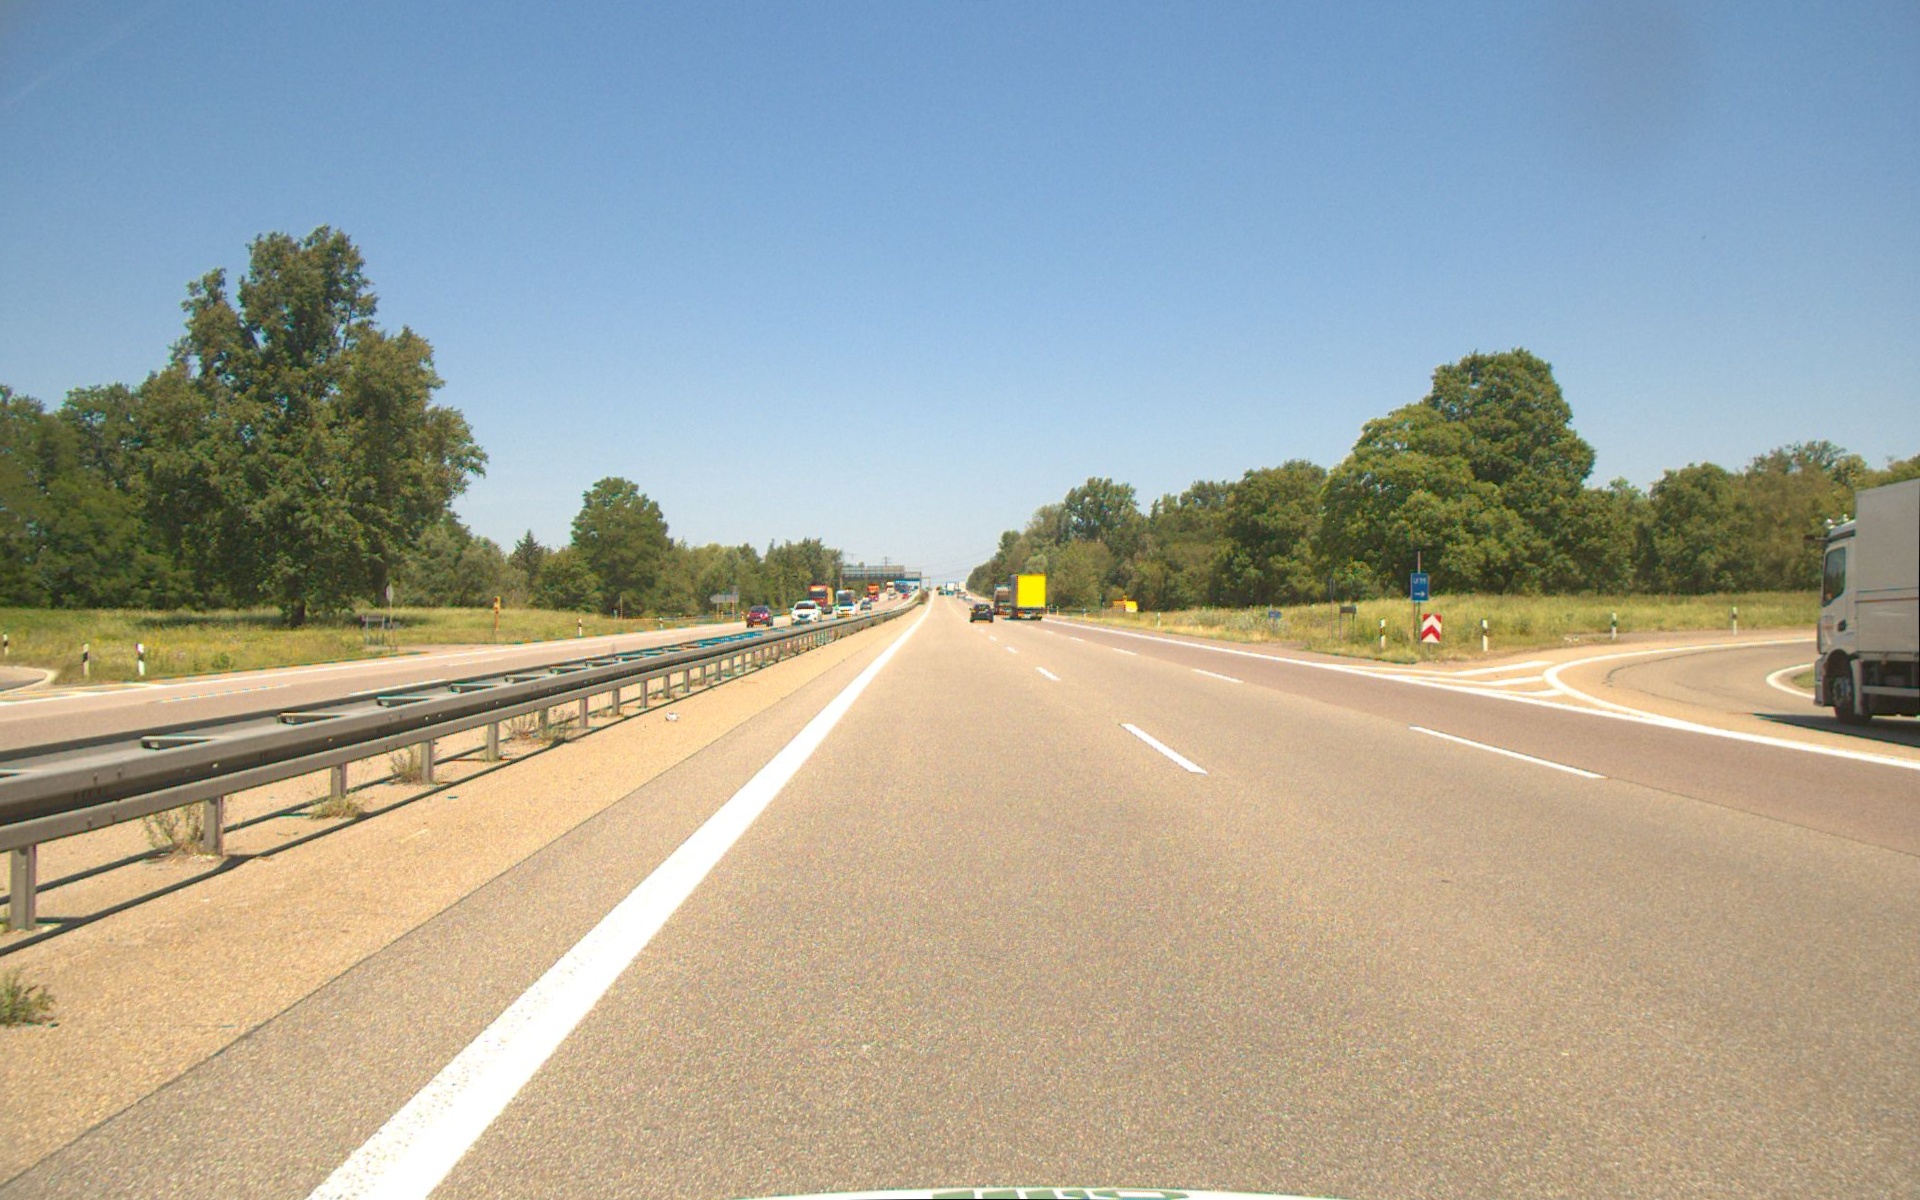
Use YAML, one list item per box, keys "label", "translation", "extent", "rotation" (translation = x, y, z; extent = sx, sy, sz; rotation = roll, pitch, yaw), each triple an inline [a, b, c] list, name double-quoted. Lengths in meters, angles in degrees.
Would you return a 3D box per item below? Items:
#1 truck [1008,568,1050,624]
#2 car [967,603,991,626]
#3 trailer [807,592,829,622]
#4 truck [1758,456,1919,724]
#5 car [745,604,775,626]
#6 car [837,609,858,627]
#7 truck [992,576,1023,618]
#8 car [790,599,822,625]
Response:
- label: "truck"
  translation: [6.468, -0.332, 156.716]
  extent: [3.308, 4.966, 15.085]
  rotation: [1, 0, 0]
- label: "car"
  translation: [1.482, 1.101, 129.248]
  extent: [1.790, 1.736, 3.999]
  rotation: [1, 0, -1]
- label: "trailer"
  translation: [-19.793, 0.925, 230.808]
  extent: [2.550, 4.061, 6.028]
  rotation: [1, 0, -1]
- label: "truck"
  translation: [13.550, -0.108, 20.688]
  extent: [2.964, 3.377, 10.778]
  rotation: [1, 0, 6]
- label: "car"
  translation: [-14.695, 1.123, 121.909]
  extent: [1.726, 1.521, 4.074]
  rotation: [-2, 0, -1]
- label: "car"
  translation: [-11.318, 1.786, 166.349]
  extent: [1.774, 1.722, 5.124]
  rotation: [-1, 0, -1]
- label: "truck"
  translation: [5.807, -0.311, 203.682]
  extent: [3.298, 4.966, 15.085]
  rotation: [1, 0, 0]
- label: "car"
  translation: [-10.240, 0.776, 110.399]
  extent: [1.726, 1.722, 4.818]
  rotation: [-1, 0, -1]
